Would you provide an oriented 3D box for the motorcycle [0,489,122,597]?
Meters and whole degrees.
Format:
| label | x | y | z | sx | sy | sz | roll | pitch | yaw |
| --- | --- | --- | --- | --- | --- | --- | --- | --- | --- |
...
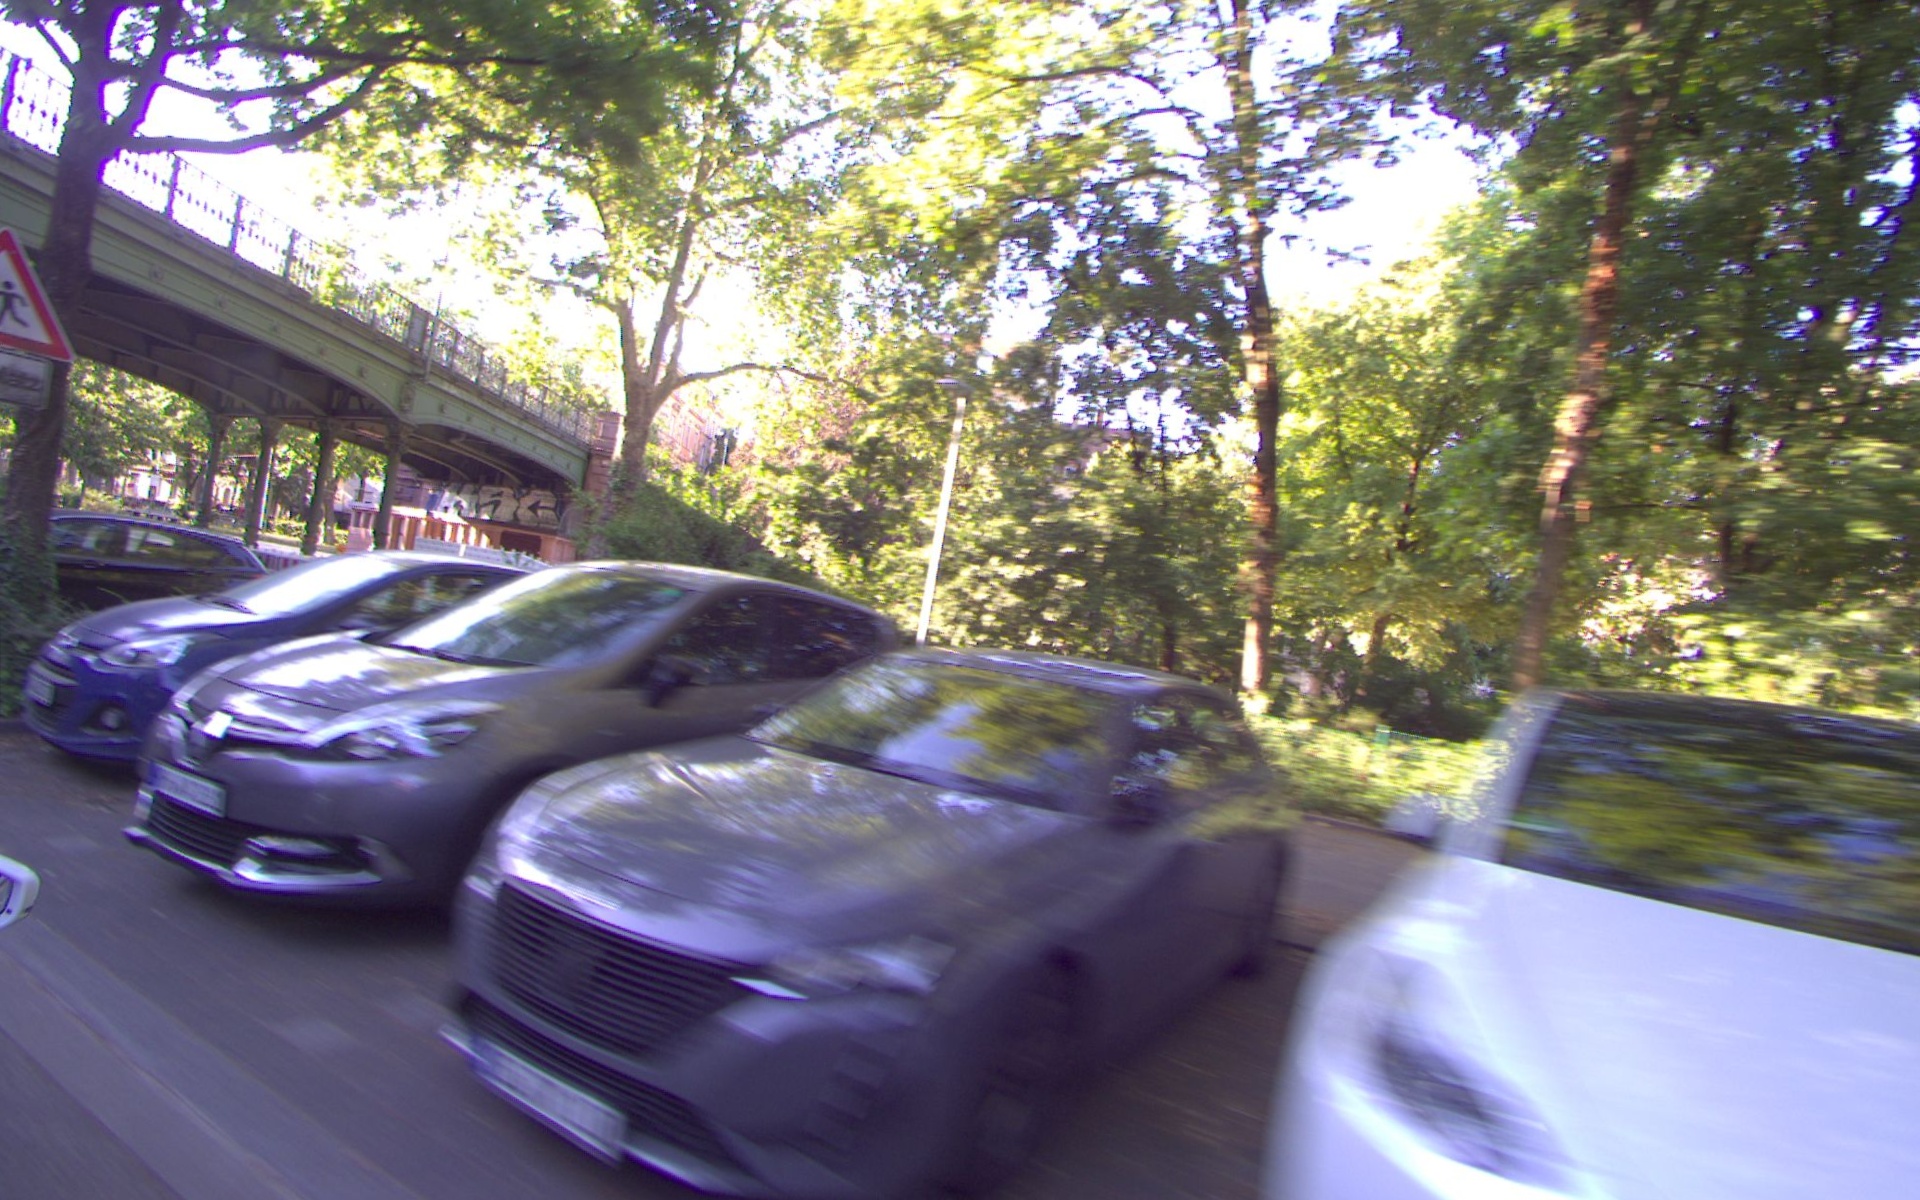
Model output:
| label | x | y | z | sx | sy | sz | roll | pitch | yaw |
| --- | --- | --- | --- | --- | --- | --- | --- | --- | --- |
| motorcycle | -12.720 | -0.809 | 13.552 | 0.887 | 1.251 | 1.940 | 8 | -4 | 9 |

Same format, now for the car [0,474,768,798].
| label | x | y | z | sx | sy | sz | roll | pitch | yaw |
| --- | --- | --- | --- | --- | --- | --- | --- | --- | --- |
| car | -3.791 | 0.395 | 7.345 | 1.709 | 1.623 | 4.590 | 6 | -3 | 38 |

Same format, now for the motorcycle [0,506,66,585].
| label | x | y | z | sx | sy | sz | roll | pitch | yaw |
| --- | --- | --- | --- | --- | --- | --- | --- | --- | --- |
| motorcycle | -14.110 | -0.869 | 14.474 | 0.797 | 1.041 | 1.729 | 8 | -4 | 0 |

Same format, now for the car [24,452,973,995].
| label | x | y | z | sx | sy | sz | roll | pitch | yaw |
| --- | --- | --- | --- | --- | --- | --- | --- | --- | --- |
| car | -1.894 | 0.613 | 5.629 | 1.875 | 1.726 | 4.389 | 7 | -4 | 30 |

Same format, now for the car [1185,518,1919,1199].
| label | x | y | z | sx | sy | sz | roll | pitch | yaw |
| --- | --- | --- | --- | --- | --- | --- | --- | --- | --- |
| car | 2.362 | 1.109 | 3.055 | 1.876 | 1.713 | 4.545 | 6 | -4 | 32 |

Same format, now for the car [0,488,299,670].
| label | x | y | z | sx | sy | sz | roll | pitch | yaw |
| --- | --- | --- | --- | --- | --- | --- | --- | --- | --- |
| car | -9.995 | -0.315 | 10.835 | 1.647 | 1.594 | 4.387 | 6 | -4 | 32 |

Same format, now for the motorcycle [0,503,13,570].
| label | x | y | z | sx | sy | sz | roll | pitch | yaw |
| --- | --- | --- | --- | --- | --- | --- | --- | --- | --- |
| motorcycle | -17.299 | -1.245 | 16.837 | 0.834 | 1.144 | 1.841 | 8 | -4 | 11 |

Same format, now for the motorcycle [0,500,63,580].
| label | x | y | z | sx | sy | sz | roll | pitch | yaw |
| --- | --- | --- | --- | --- | --- | --- | --- | --- | --- |
| motorcycle | -15.253 | -1.007 | 15.753 | 0.699 | 1.144 | 1.729 | 8 | -3 | 0 |

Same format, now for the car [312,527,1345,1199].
| label | x | y | z | sx | sy | sz | roll | pitch | yaw |
| --- | --- | --- | --- | --- | --- | --- | --- | --- | --- |
| car | 0.151 | 0.939 | 4.276 | 1.845 | 1.548 | 4.387 | 6 | -4 | 32 |
